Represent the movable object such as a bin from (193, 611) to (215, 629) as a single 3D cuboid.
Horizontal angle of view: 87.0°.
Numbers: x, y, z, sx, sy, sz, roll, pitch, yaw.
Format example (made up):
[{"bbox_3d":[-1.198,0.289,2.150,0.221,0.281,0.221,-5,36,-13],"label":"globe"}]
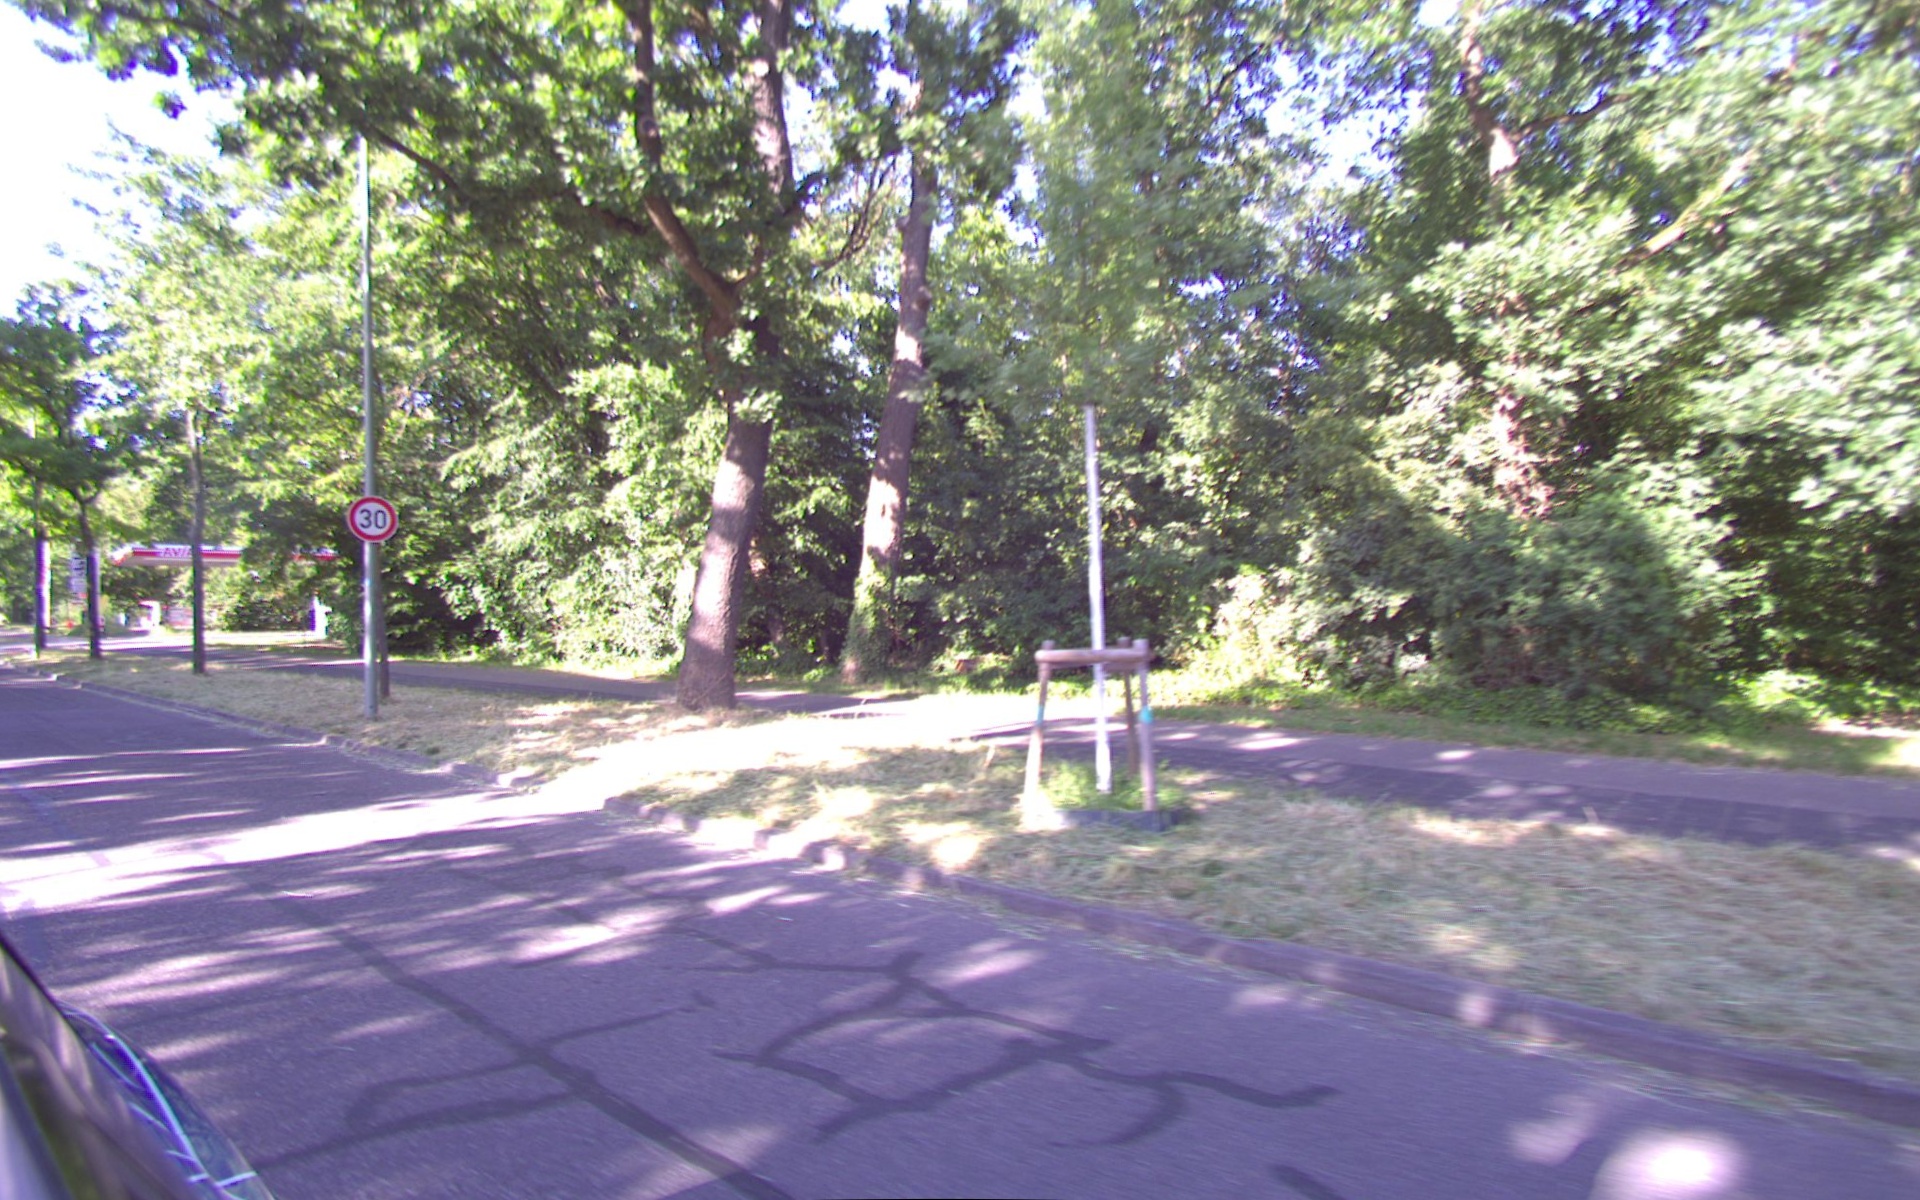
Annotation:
[{"bbox_3d":[-64.894,1.736,86.911,1.267,1.553,1.290,-1,-1,42],"label":"movable object such as a bin"}]
